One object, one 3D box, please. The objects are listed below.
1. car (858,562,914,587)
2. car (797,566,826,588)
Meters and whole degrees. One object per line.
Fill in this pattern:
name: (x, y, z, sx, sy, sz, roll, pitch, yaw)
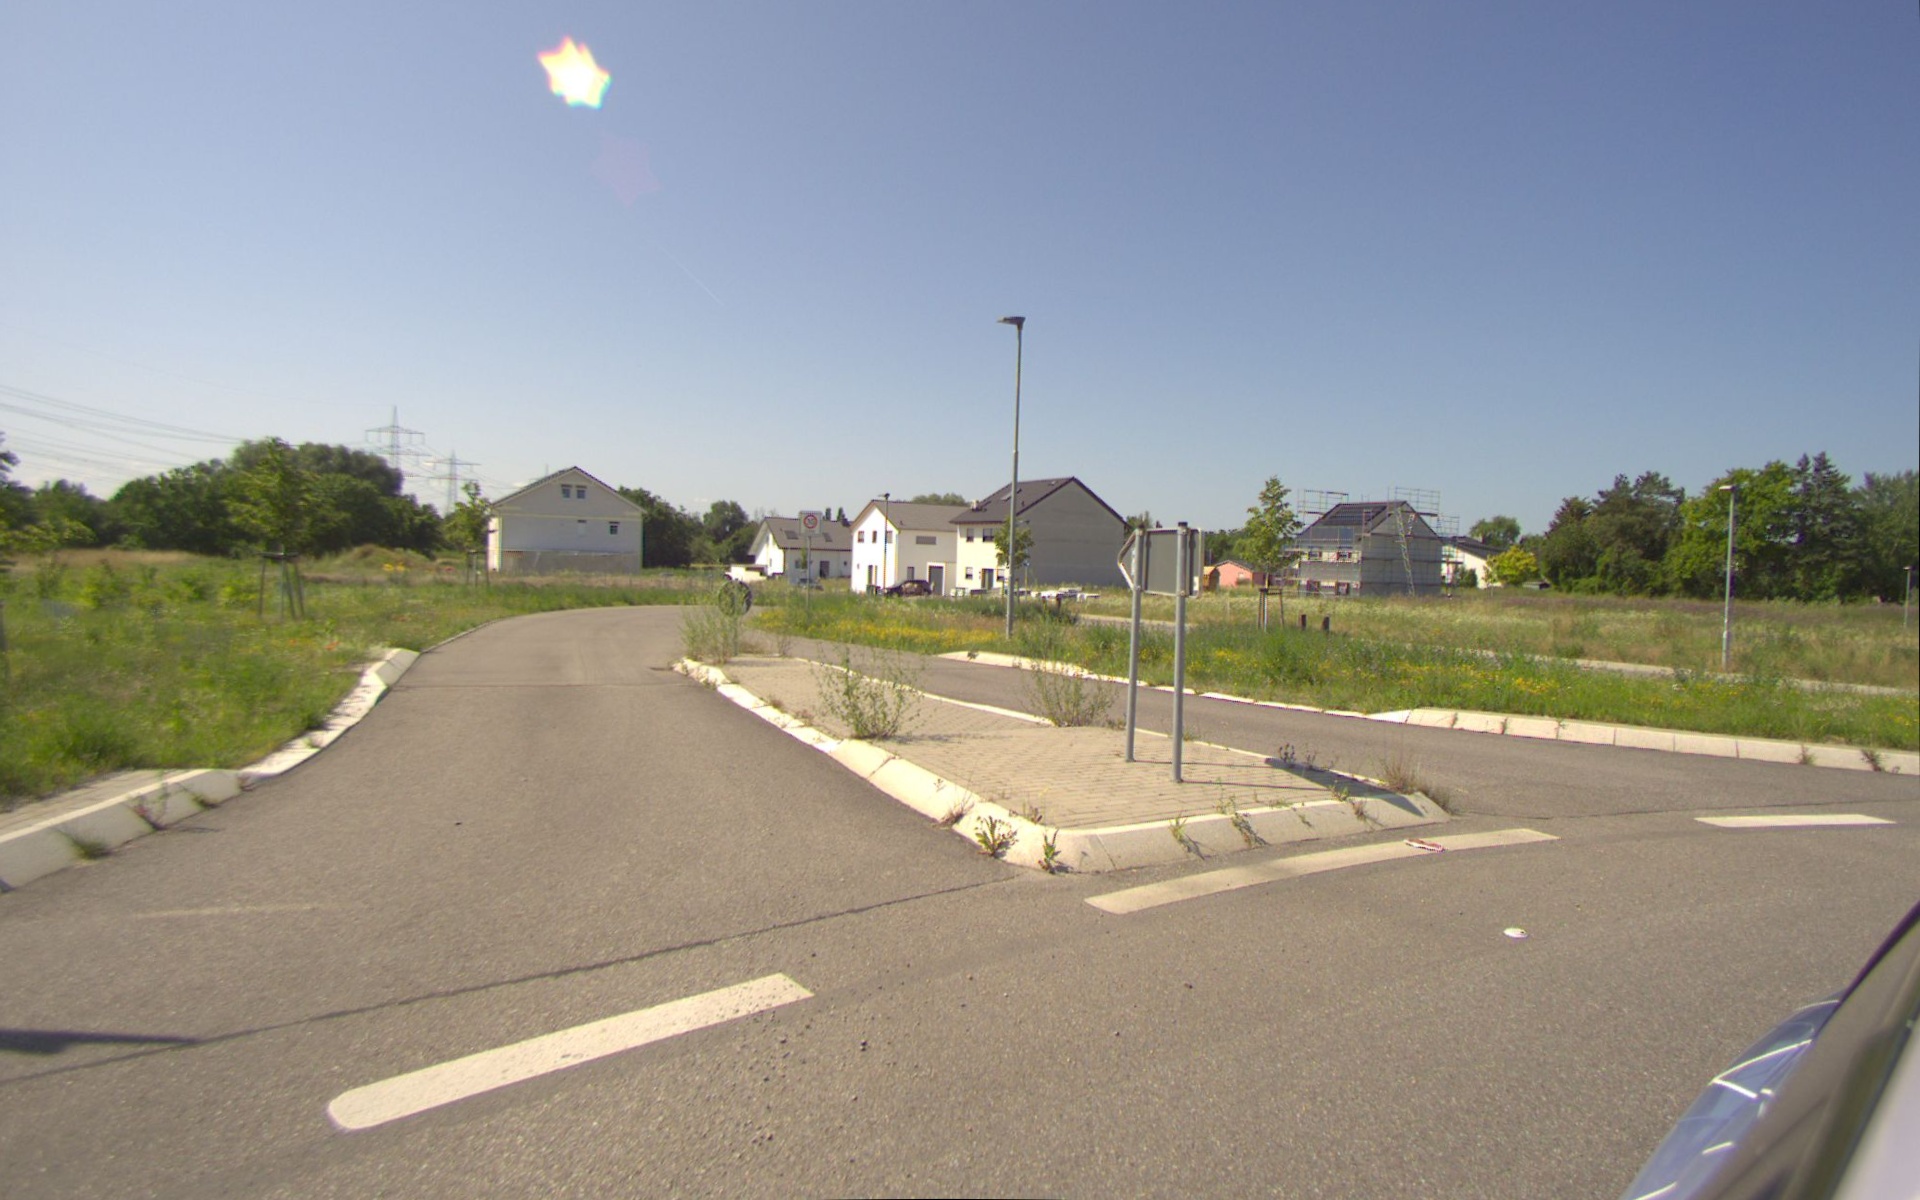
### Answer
car: (-5.834, -2.015, 79.929, 3.918, 1.816, 2.003, 1, 2, -28)
car: (-12.112, -1.862, 82.157, 1.646, 1.682, 3.495, 1, 1, -20)
